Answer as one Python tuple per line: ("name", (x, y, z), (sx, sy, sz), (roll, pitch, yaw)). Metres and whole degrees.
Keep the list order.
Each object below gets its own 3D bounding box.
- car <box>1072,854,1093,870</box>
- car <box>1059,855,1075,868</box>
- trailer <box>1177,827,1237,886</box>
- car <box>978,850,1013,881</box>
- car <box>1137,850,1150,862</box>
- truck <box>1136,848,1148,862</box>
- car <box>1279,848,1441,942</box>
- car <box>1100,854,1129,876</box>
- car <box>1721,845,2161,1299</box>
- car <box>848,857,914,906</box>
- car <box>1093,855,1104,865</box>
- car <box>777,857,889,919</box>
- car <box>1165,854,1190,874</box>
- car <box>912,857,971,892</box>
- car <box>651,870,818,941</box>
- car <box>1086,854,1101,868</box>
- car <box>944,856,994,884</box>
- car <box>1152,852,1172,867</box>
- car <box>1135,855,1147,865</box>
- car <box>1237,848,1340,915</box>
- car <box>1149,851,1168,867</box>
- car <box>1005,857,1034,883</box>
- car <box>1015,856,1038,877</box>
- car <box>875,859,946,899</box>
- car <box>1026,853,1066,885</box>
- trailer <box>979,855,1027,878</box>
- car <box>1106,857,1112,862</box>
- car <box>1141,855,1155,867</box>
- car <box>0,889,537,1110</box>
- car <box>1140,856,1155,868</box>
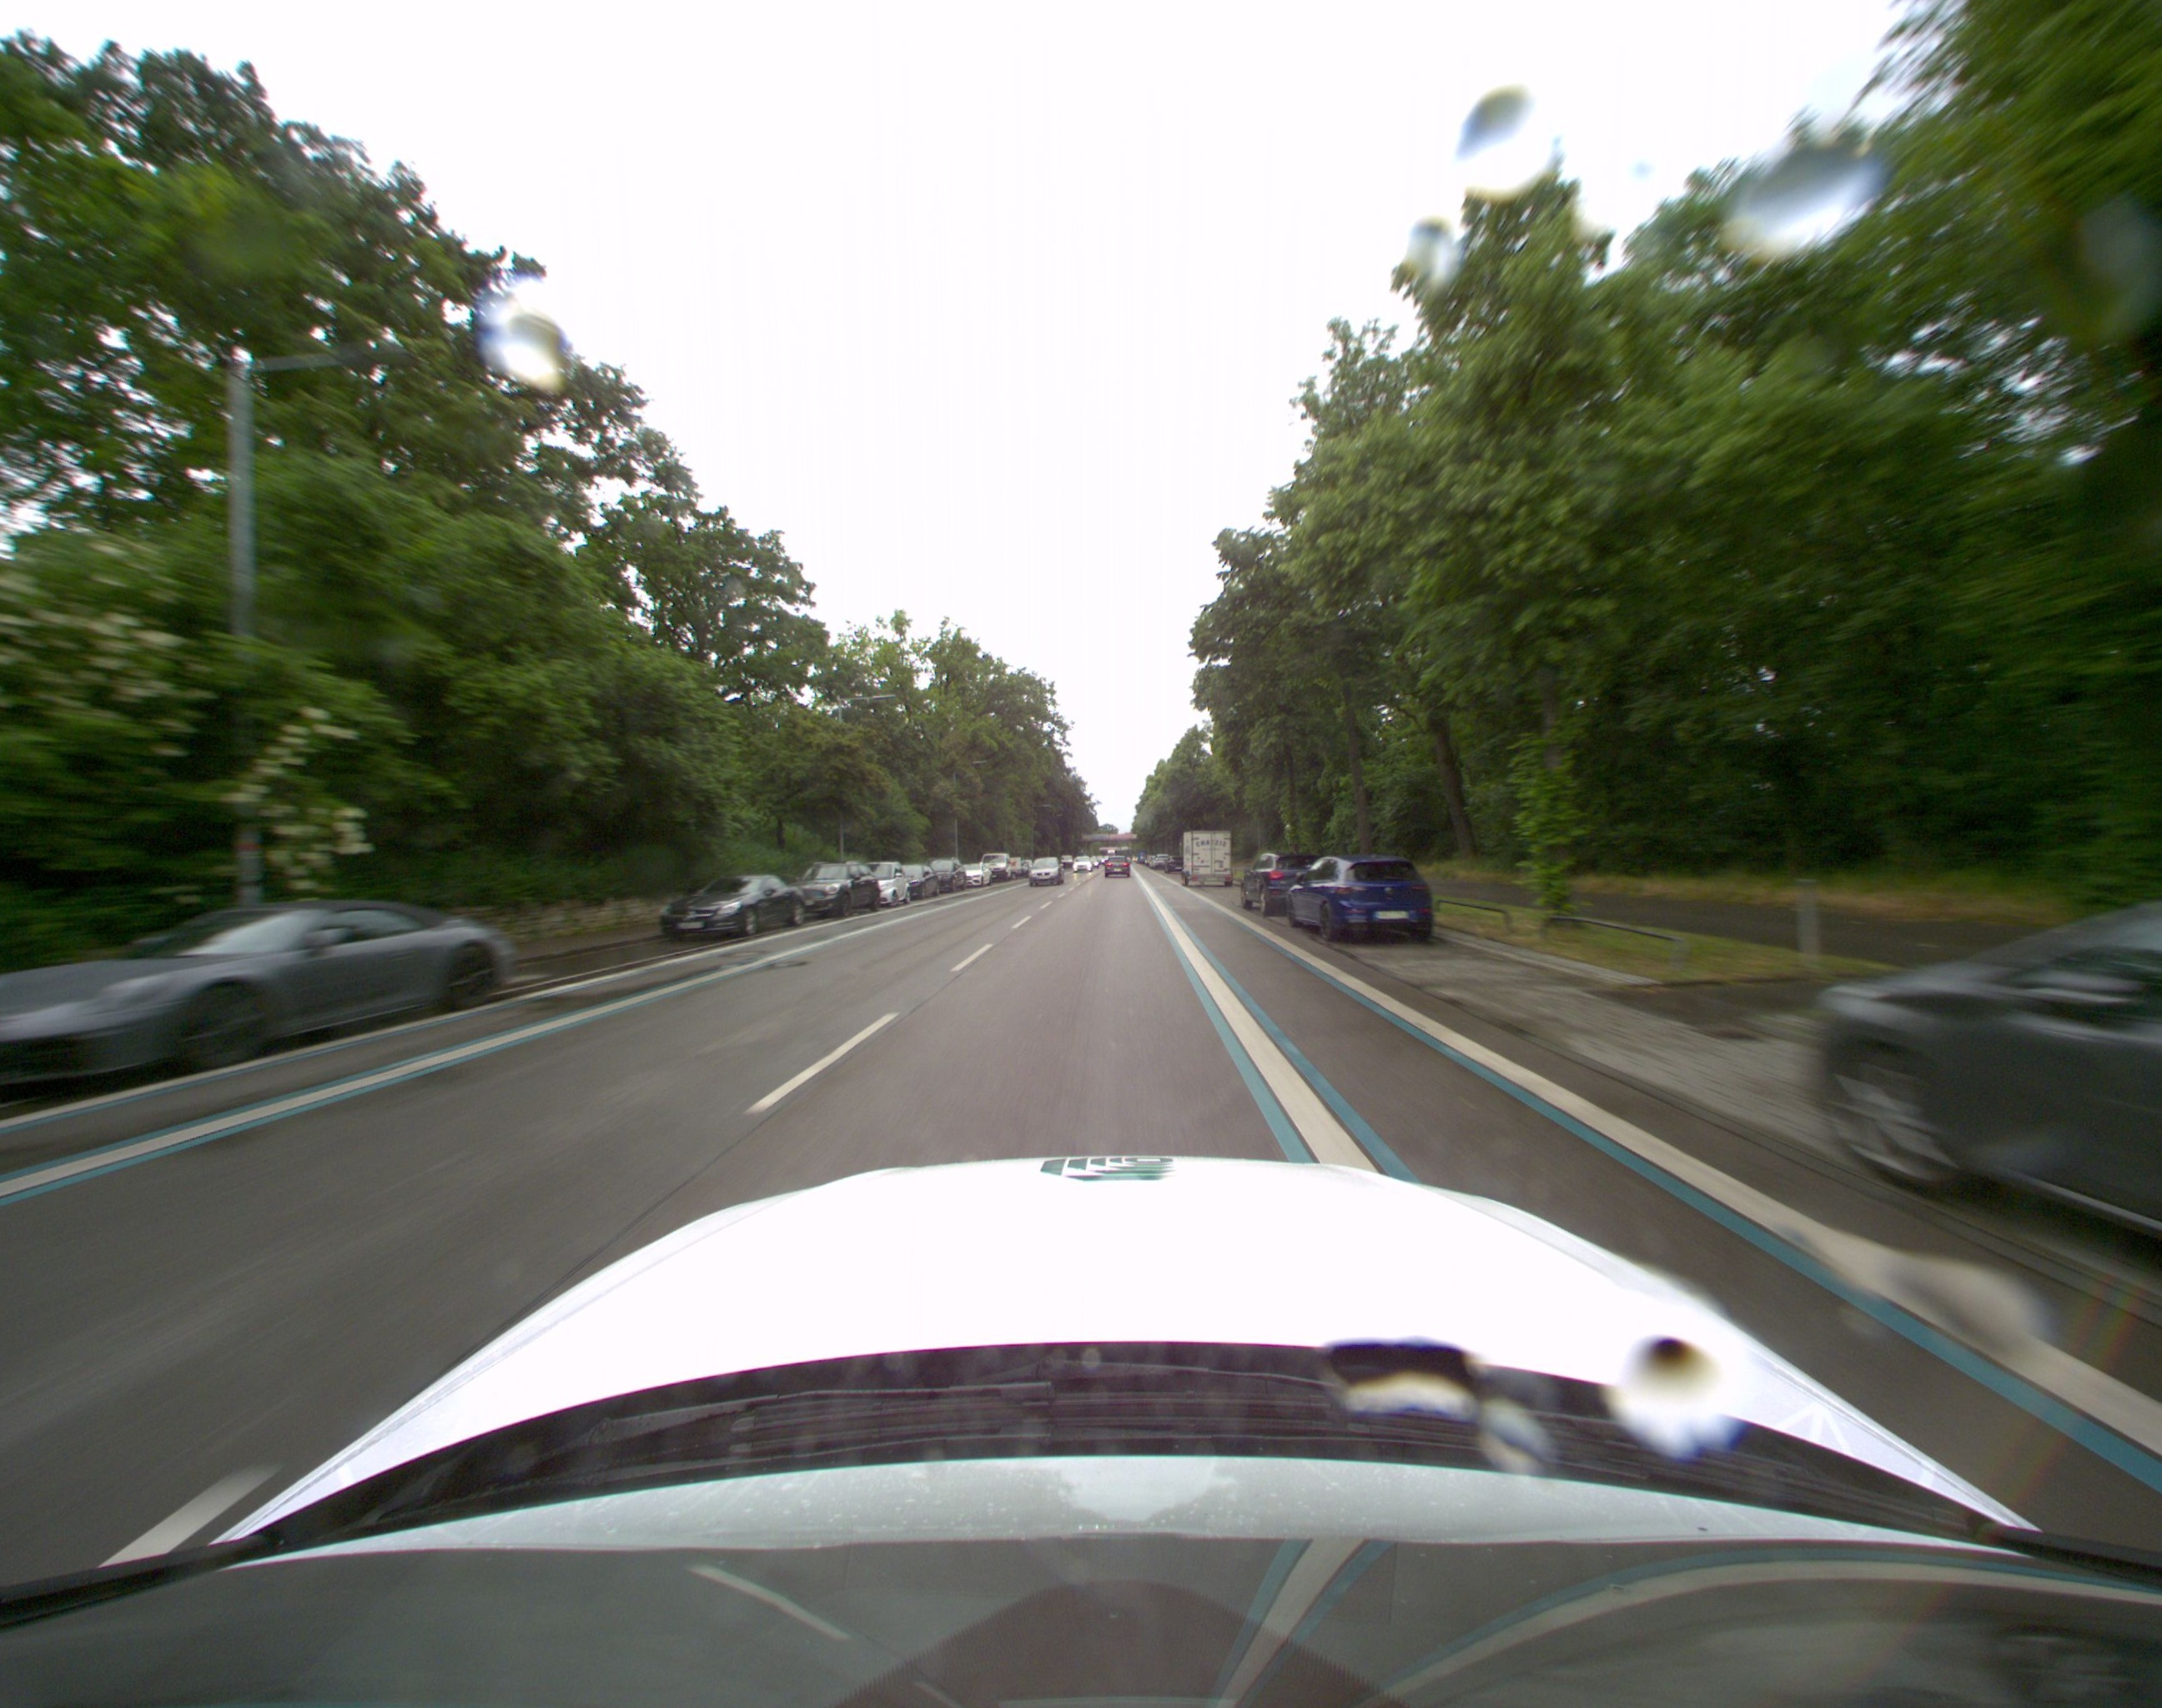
("car", (0.156, 0.754, 80.000), (1.828, 1.517, 4.002), (-2, 0, 2))
("car", (-2.139, 1.155, 126.573), (2.149, 2.013, 5.036), (-2, 0, 4))
("trailer", (5.810, 0.093, 38.087), (2.125, 2.560, 4.297), (-1, 0, 0))
("car", (-5.886, 0.789, 56.624), (1.934, 2.013, 4.739), (-1, 0, 0))
("car", (11.163, 0.306, 145.277), (1.986, 2.014, 4.001), (-1, -1, 2))
("truck", (12.113, 0.160, 161.386), (2.104, 2.599, 4.304), (-2, 0, 3))
("car", (5.004, 0.641, 15.216), (1.675, 1.481, 4.321), (-1, 0, 2))
("car", (2.321, 0.794, 57.064), (1.865, 1.441, 4.296), (0, -1, 1))
("car", (4.292, 0.701, 2.539), (1.608, 1.470, 4.003), (0, 0, 3))
("car", (-6.891, 0.914, 28.333), (1.455, 1.571, 2.985), (-2, 0, 1))
("car", (2.993, 0.944, 137.416), (1.699, 1.572, 4.004), (-1, 0, 3))
("car", (-7.134, 0.926, 23.887), (1.688, 1.584, 4.144), (-2, 0, 4))
("car", (7.875, 0.773, 66.818), (1.715, 1.525, 4.003), (-1, 0, 3))
("car", (-6.759, 0.960, 39.868), (1.872, 1.561, 4.472), (-1, 0, 3))
("car", (-7.654, 1.083, 18.473), (1.688, 1.300, 4.197), (-2, 0, 4))
("car", (1.600, 0.853, 102.160), (1.699, 1.572, 4.004), (-1, 0, 3))
("car", (-6.273, 0.863, 46.247), (1.985, 1.488, 4.472), (-1, 0, 3))
("car", (8.550, 0.565, 86.532), (1.889, 1.606, 4.003), (-1, 0, 3))
("car", (11.294, 1.076, 153.312), (1.985, 1.772, 4.003), (-3, -1, 3))
("car", (5.179, 0.643, 20.827), (1.707, 1.513, 3.977), (-1, 0, 1))
("car", (8.636, 0.540, 91.108), (1.889, 1.606, 4.003), (-1, 0, 3))
("car", (-4.979, 1.250, 66.642), (1.934, 2.013, 4.739), (-1, 0, 0))
("car", (-4.888, 1.110, 73.432), (1.569, 1.770, 3.418), (-2, 0, 3))
("car", (-6.945, 0.971, 33.638), (1.801, 1.488, 4.470), (-1, 0, 2))
("car", (-1.808, 0.761, 43.350), (1.692, 1.485, 4.038), (-3, 0, 3))
("trailer", (-5.876, 0.946, 61.644), (1.609, 1.629, 3.696), (-2, 0, 33))
("car", (6.426, 1.263, 188.944), (1.373, 1.131, 3.315), (-1, 0, 2))
("car", (9.958, 1.033, 121.482), (1.985, 1.562, 4.003), (-1, 0, 3))
("car", (-7.752, 1.111, 7.841), (1.862, 1.304, 4.472), (-1, 0, 2))
("car", (9.545, 1.131, 116.697), (1.985, 1.562, 4.003), (-1, 0, 3))
